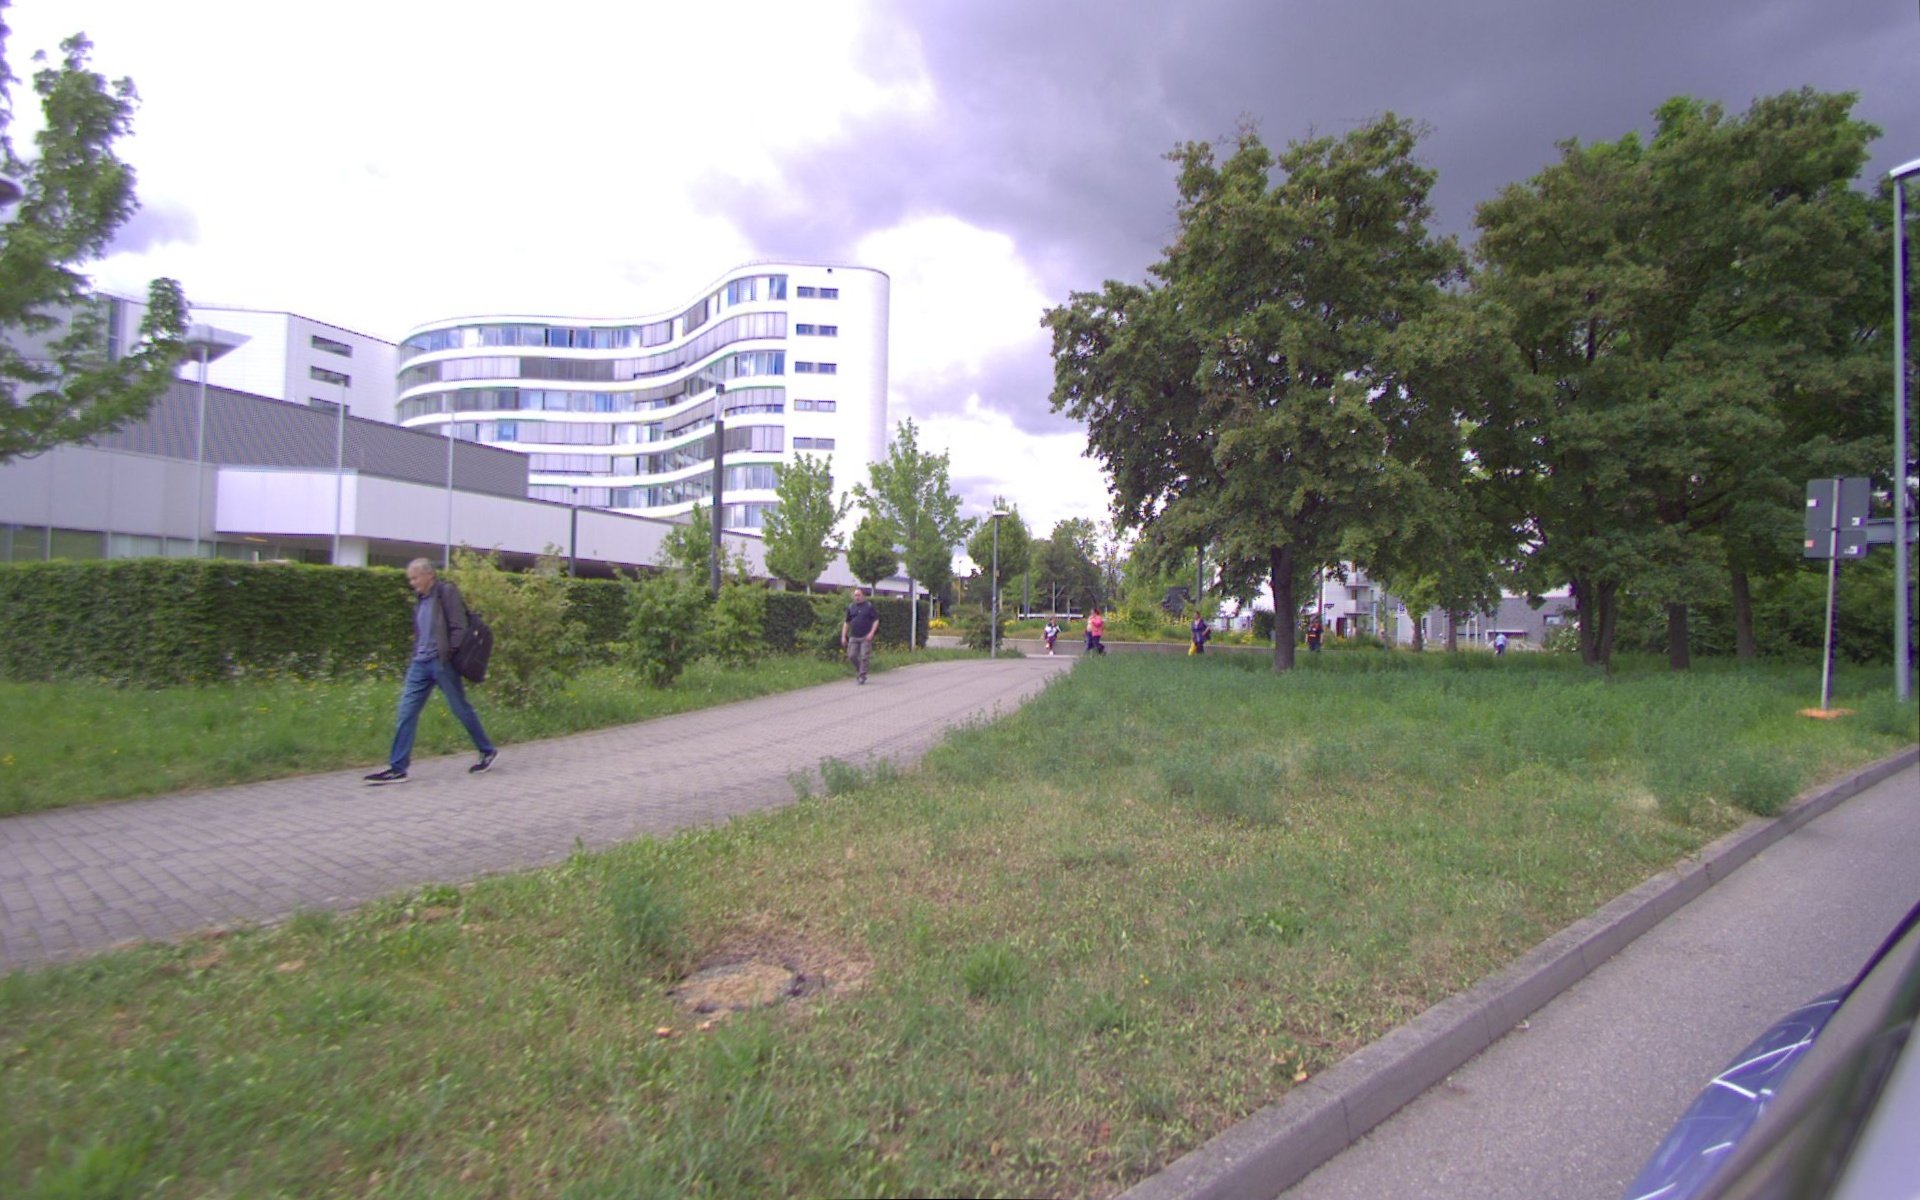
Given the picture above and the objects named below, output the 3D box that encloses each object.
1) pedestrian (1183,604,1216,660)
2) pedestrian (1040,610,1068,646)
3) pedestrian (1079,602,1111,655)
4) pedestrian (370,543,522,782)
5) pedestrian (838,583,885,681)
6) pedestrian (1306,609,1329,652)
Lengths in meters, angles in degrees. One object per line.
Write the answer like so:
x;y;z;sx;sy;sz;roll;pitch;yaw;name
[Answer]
7.112;0.939;30.060;0.655;1.627;0.675;0;-1;-39;pedestrian
3.126;0.917;33.593;0.673;1.156;0.657;-1;-1;42;pedestrian
4.008;0.836;30.077;0.673;1.526;0.657;-1;-1;42;pedestrian
-4.049;0.456;7.981;0.760;1.744;0.873;-1;-1;43;pedestrian
-1.698;0.539;17.540;0.629;1.665;0.600;0;0;18;pedestrian
11.958;1.006;33.845;0.669;1.433;0.661;0;0;26;pedestrian
